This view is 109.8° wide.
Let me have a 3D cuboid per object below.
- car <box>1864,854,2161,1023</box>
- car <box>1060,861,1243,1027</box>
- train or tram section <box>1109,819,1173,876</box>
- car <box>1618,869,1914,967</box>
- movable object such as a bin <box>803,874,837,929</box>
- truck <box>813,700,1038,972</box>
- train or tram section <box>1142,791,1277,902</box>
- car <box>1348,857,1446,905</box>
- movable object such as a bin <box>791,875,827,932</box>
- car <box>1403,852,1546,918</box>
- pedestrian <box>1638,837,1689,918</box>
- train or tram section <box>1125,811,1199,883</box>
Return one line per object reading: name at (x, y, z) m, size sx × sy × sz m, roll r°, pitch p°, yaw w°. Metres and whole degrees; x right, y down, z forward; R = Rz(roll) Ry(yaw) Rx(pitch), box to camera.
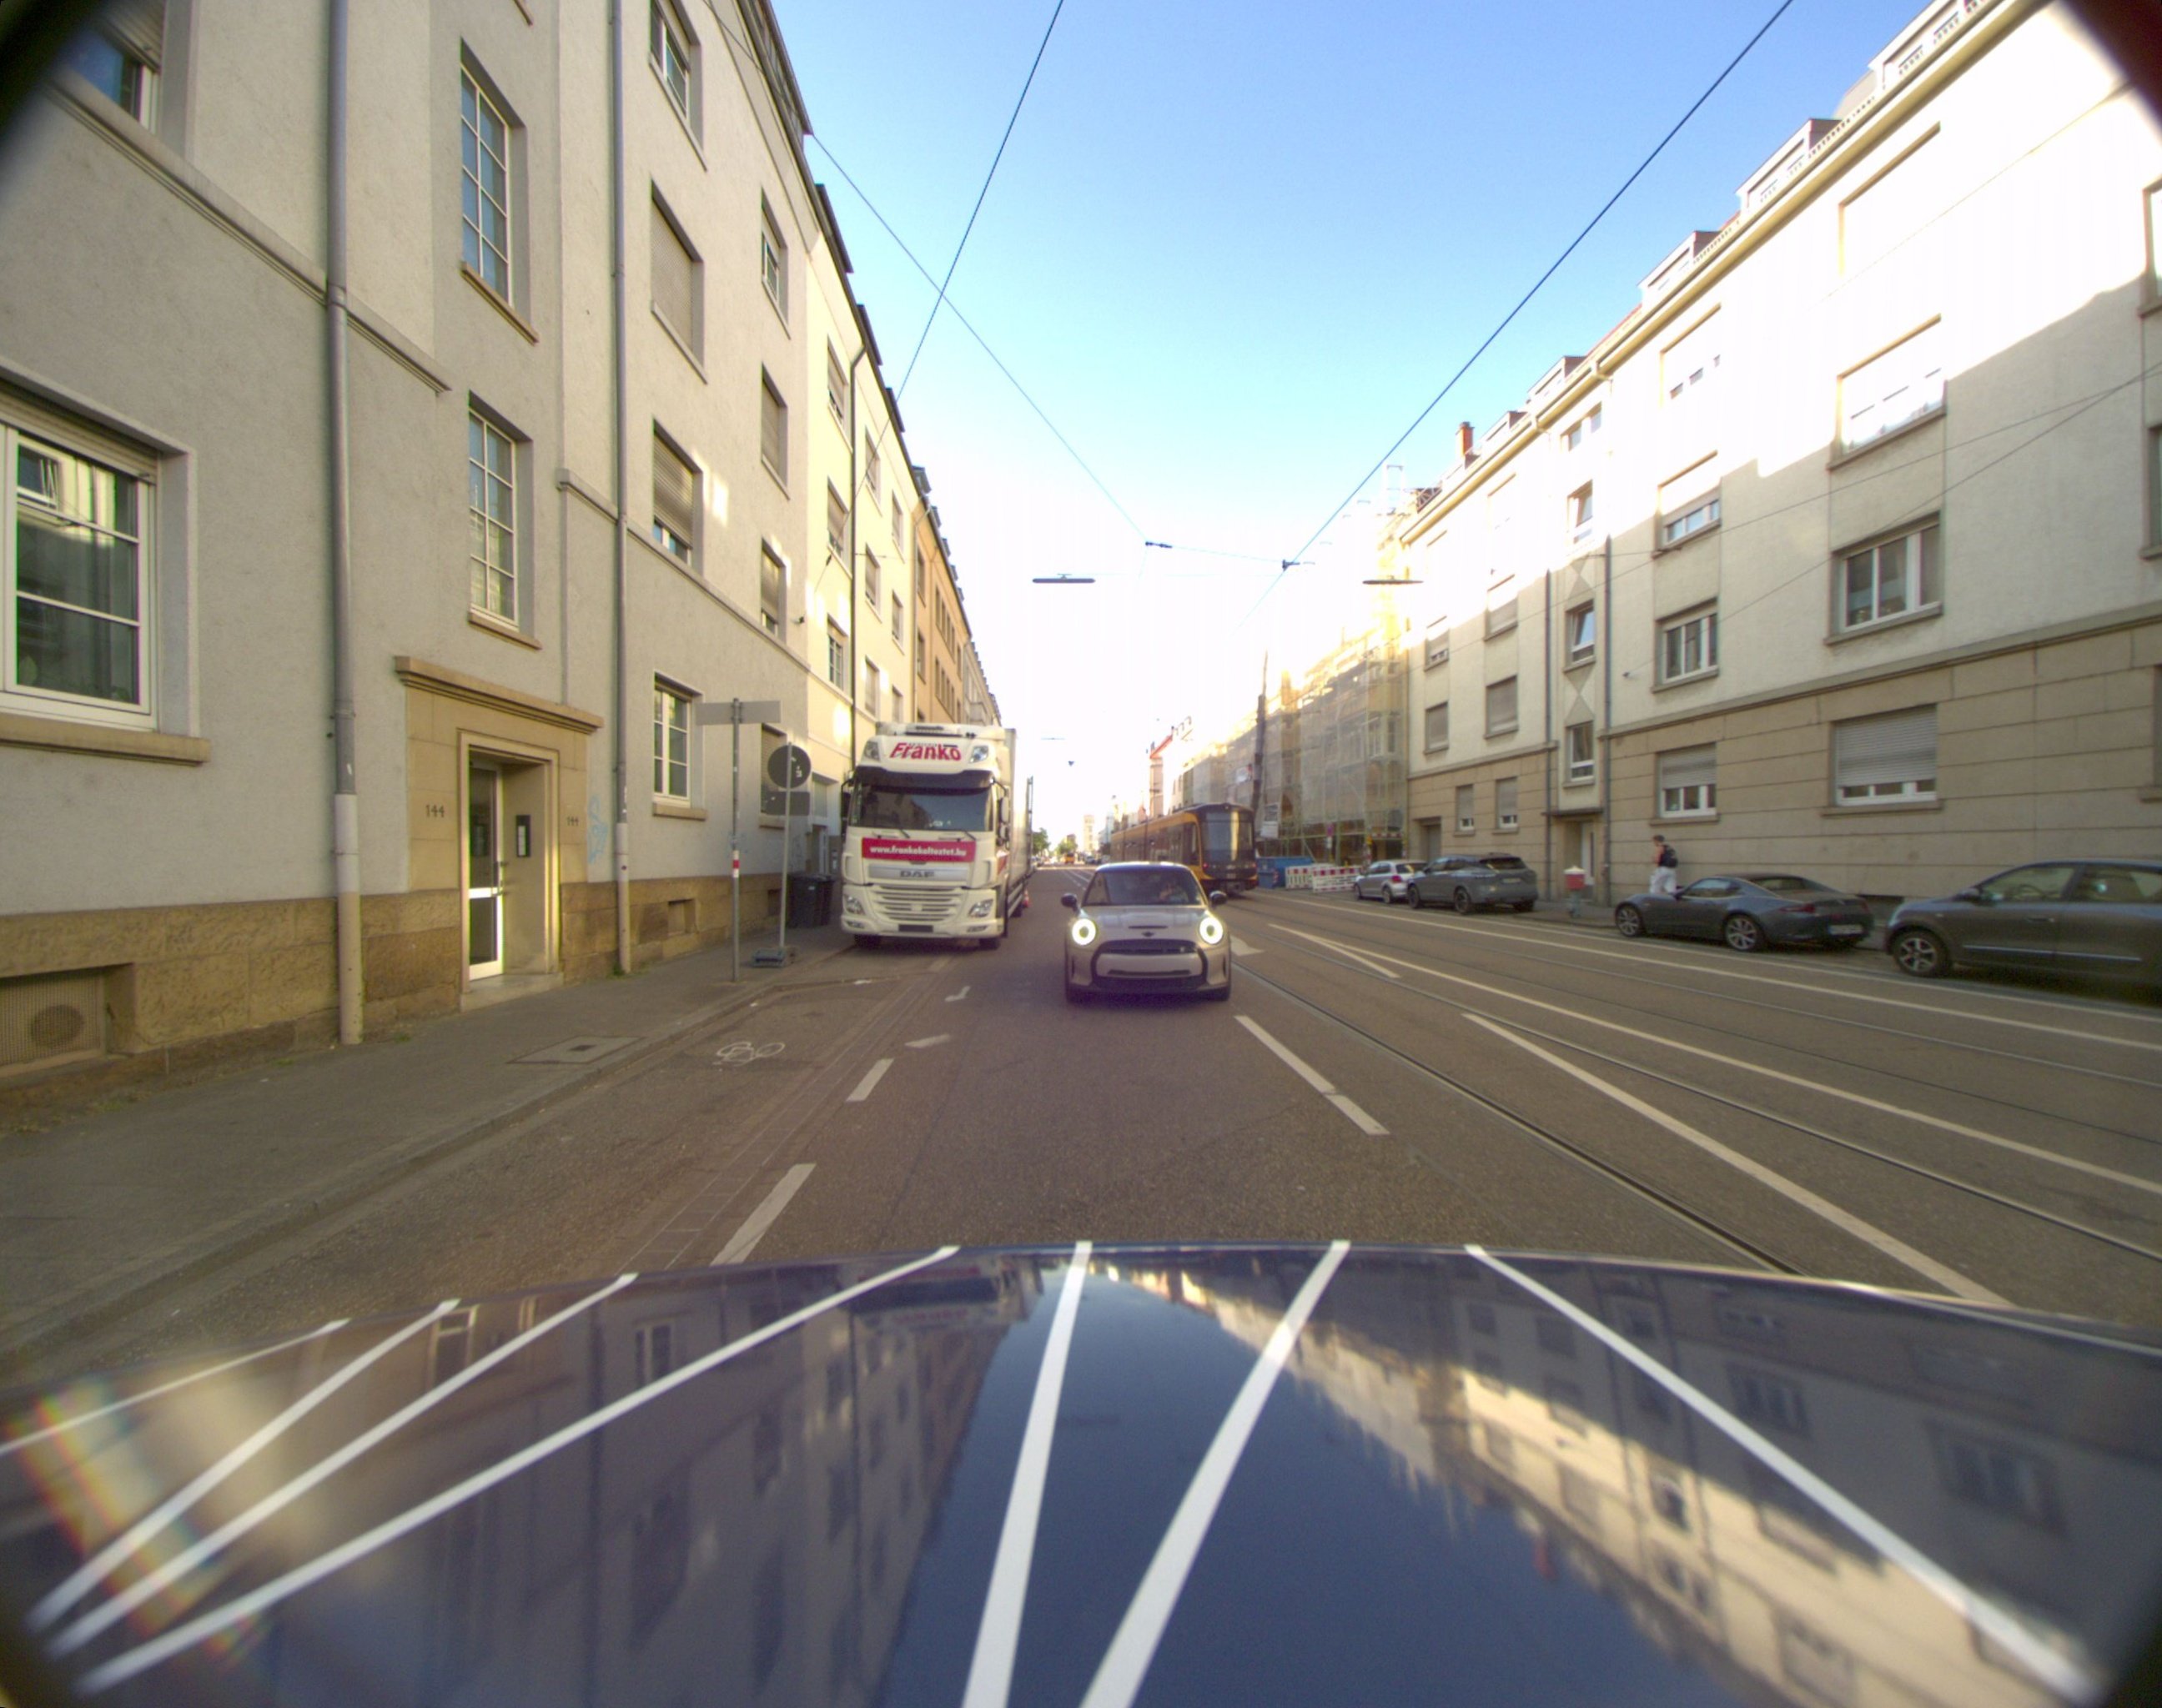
car at (11.379, 0.834, 8.446) m, size 1.670 × 1.563 × 3.496 m, roll -2°, pitch 1°, yaw -2°
car at (0.651, 0.856, 9.053) m, size 1.692 × 1.495 × 4.000 m, roll 0°, pitch 0°, yaw 0°
train or tram section at (4.047, -0.458, 54.531) m, size 3.070 × 3.573 × 12.626 m, roll 1°, pitch 0°, yaw -2°
car at (11.281, 0.970, 12.880) m, size 1.751 × 1.269 × 3.488 m, roll -2°, pitch 1°, yaw -4°
movable object such as a bin at (-5.348, 0.964, 15.581) m, size 0.512 × 1.085 × 0.495 m, roll -2°, pitch 1°, yaw -4°
truck at (-2.627, -0.256, 17.139) m, size 2.899 × 3.939 × 11.704 m, roll -2°, pitch 0°, yaw -2°
train or tram section at (4.866, -0.322, 32.506) m, size 2.752 × 3.611 × 14.260 m, roll -2°, pitch 1°, yaw -2°
car at (10.635, 0.863, 25.857) m, size 1.637 × 1.383 × 3.643 m, roll -2°, pitch 1°, yaw -3°
movable object such as a bin at (-5.380, 0.967, 15.030) m, size 0.512 × 1.085 × 0.495 m, roll -2°, pitch 1°, yaw -4°
car at (10.833, 0.767, 21.289) m, size 1.712 × 1.582 × 4.112 m, roll -2°, pitch 1°, yaw -3°
pedestrian at (13.594, 0.531, 17.751) m, size 0.600 × 1.822 × 0.733 m, roll -2°, pitch 1°, yaw -1°
train or tram section at (4.439, -0.375, 43.656) m, size 2.833 × 3.610 × 9.081 m, roll -2°, pitch 1°, yaw -2°
